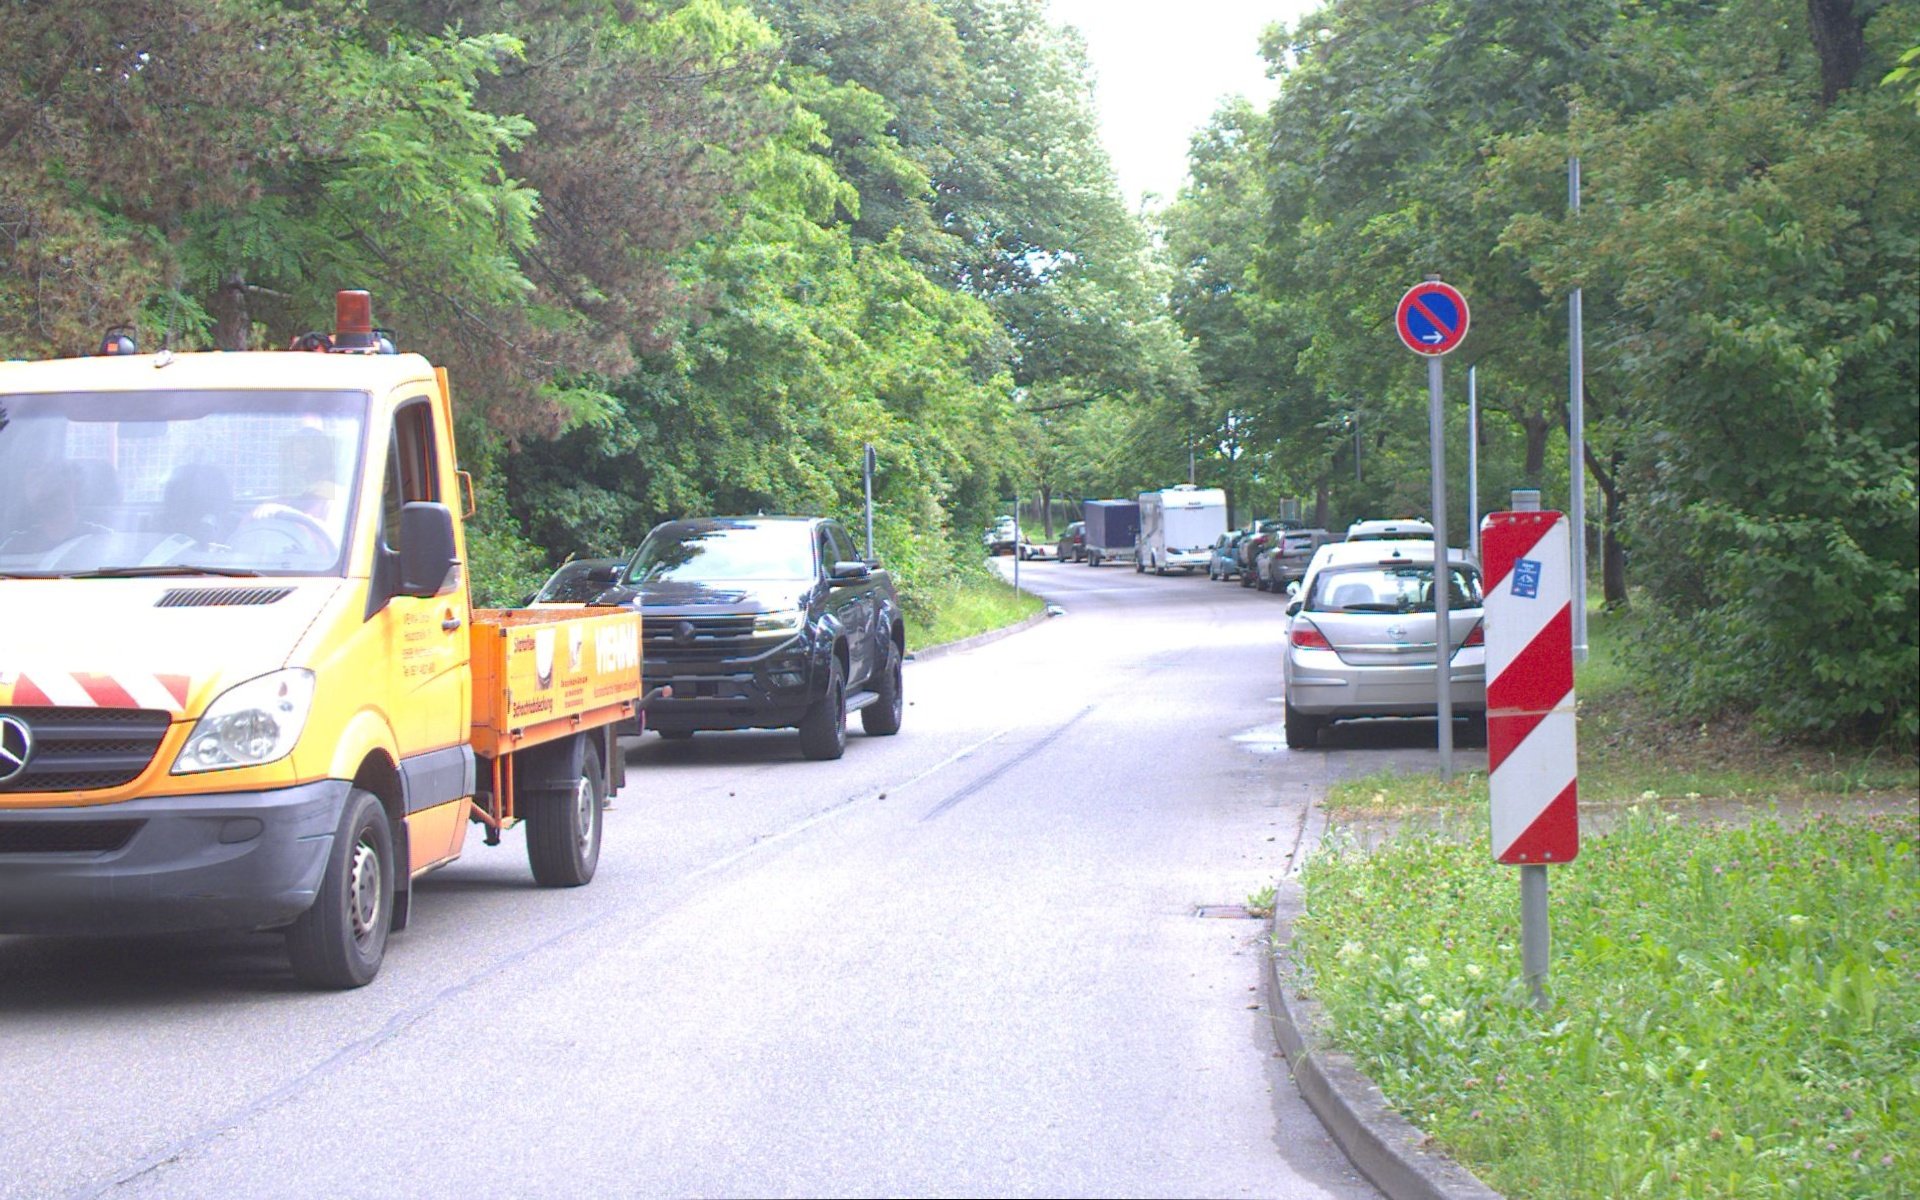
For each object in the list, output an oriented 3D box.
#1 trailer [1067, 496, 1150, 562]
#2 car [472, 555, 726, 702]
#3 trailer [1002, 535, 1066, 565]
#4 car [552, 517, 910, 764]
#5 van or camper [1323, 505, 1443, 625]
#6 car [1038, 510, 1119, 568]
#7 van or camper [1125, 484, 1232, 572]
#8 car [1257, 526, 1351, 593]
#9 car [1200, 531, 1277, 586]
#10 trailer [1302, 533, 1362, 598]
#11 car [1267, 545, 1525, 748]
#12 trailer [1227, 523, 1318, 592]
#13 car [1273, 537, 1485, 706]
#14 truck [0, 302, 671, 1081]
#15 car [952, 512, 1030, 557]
[{"bbox_3d":[5.515,-2.650,128.161,1.993,2.390,4.001,-2,1,-13],"label":"trailer"},{"bbox_3d":[-3.726,0.252,36.172,1.806,1.398,4.371,1,1,6],"label":"car"},{"bbox_3d":[2.940,-2.010,137.462,1.651,1.083,4.001,-4,2,-11],"label":"trailer"},{"bbox_3d":[-1.673,0.251,27.089,1.994,1.729,5.336,-1,1,5],"label":"car"},{"bbox_3d":[6.782,-0.535,55.433,1.802,1.831,4.319,-1,0,6],"label":"van or camper"},{"bbox_3d":[4.581,-2.375,133.605,1.993,2.018,4.002,-4,4,-14],"label":"car"},{"bbox_3d":[7.403,-2.447,117.276,2.481,2.866,6.891,-1,1,-6],"label":"van or camper"},{"bbox_3d":[9.115,-1.050,91.424,1.792,1.664,4.502,-2,0,-3],"label":"car"},{"bbox_3d":[8.649,-1.307,106.988,1.799,1.556,3.836,-2,2,-4],"label":"car"},{"bbox_3d":[9.192,-0.863,85.125,1.278,1.579,2.460,-1,1,2],"label":"trailer"},{"bbox_3d":[3.376,0.302,26.530,1.793,1.406,4.058,-1,1,8],"label":"car"},{"bbox_3d":[8.836,-1.236,97.664,1.979,1.805,5.149,-2,2,-1],"label":"trailer"},{"bbox_3d":[4.100,0.151,33.937,1.886,1.501,5.175,-1,1,6],"label":"car"},{"bbox_3d":[-2.883,0.205,14.006,2.323,2.461,6.019,1,1,6],"label":"truck"},{"bbox_3d":[1.285,-2.805,146.631,2.034,1.797,4.084,-2,2,-19],"label":"car"}]
